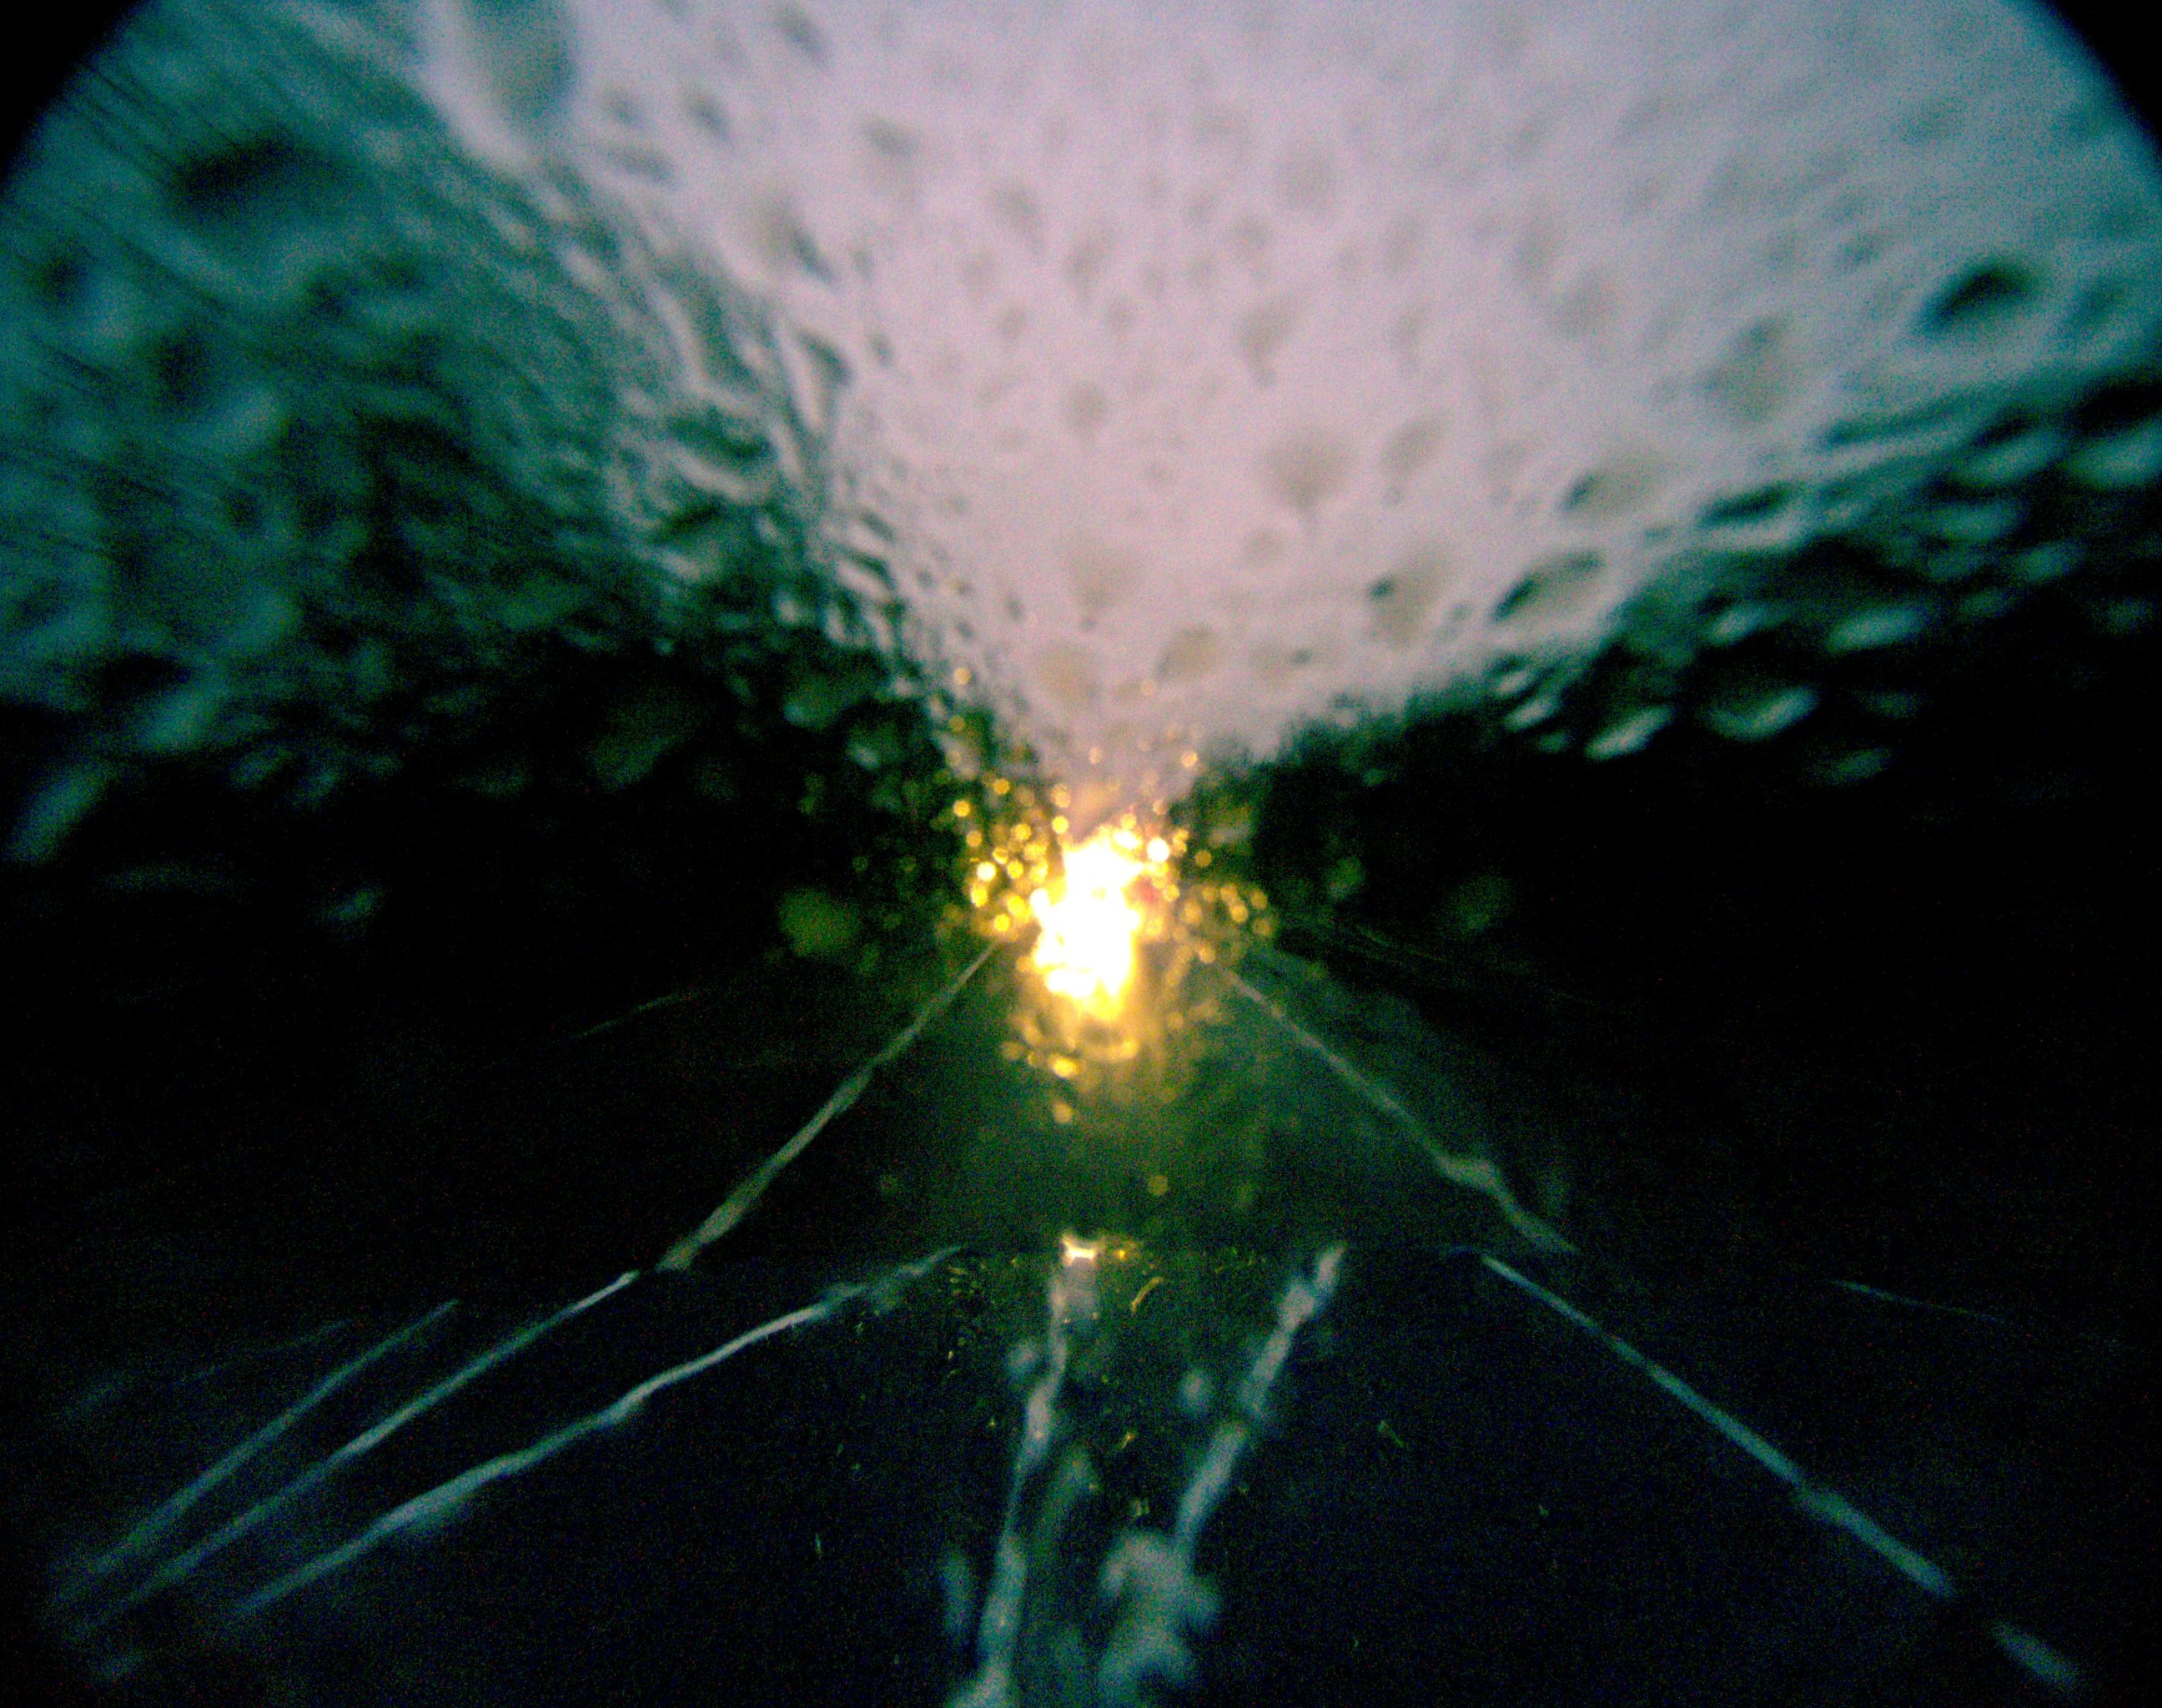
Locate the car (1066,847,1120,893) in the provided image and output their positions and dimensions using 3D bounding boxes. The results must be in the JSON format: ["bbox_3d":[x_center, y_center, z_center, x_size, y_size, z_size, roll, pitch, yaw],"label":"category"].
[{"bbox_3d":[0.471,0.629,30.860,1.998,1.672,4.000,-2,0,0],"label":"car"}]

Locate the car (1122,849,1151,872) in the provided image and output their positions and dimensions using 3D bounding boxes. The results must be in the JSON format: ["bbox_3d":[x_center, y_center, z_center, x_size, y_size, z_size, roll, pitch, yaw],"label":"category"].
[{"bbox_3d":[3.976,0.436,54.662,1.753,1.543,3.993,-1,0,-1],"label":"car"}]

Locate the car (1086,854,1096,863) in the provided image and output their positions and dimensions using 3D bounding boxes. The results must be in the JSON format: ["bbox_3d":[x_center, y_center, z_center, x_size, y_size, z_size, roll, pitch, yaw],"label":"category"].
[{"bbox_3d":[1.761,0.787,134.171,1.753,1.643,4.000,-1,0,1],"label":"car"}]
